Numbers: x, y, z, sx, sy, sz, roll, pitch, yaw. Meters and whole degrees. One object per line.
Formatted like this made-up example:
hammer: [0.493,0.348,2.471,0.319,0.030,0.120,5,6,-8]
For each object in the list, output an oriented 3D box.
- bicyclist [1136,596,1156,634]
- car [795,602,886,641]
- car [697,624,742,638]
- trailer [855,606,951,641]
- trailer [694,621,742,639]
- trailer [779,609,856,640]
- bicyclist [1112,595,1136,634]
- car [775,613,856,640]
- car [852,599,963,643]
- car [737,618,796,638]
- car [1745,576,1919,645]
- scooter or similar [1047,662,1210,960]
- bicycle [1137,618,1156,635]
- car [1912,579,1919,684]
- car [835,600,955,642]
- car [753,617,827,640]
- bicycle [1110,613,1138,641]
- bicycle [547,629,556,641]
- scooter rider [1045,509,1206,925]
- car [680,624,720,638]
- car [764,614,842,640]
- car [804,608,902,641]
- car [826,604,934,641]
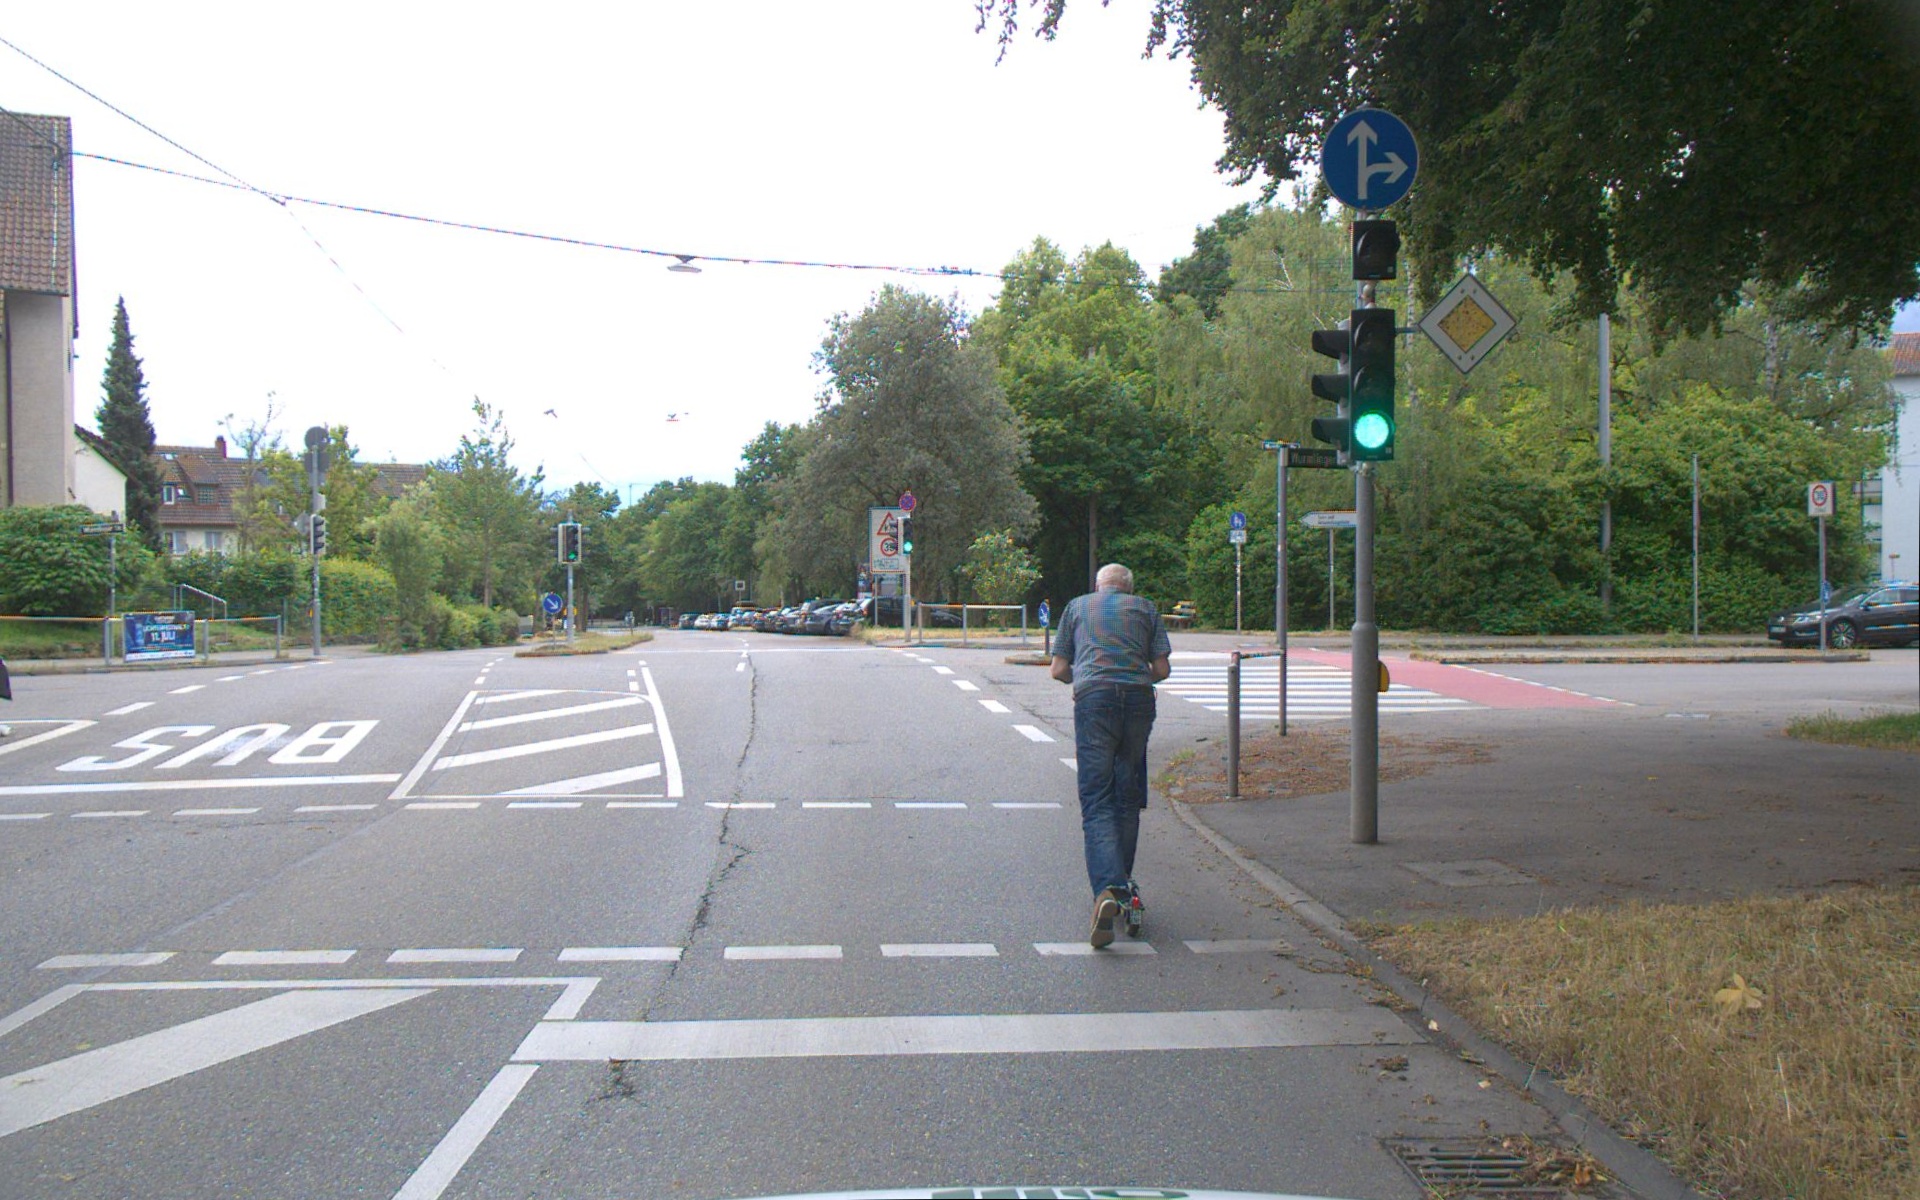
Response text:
bicyclist: [5.980,0.483,53.148,0.507,1.208,0.968,-2,-2,11]
car: [-5.580,1.005,77.081,3.928,1.755,1.670,0,-2,-21]
car: [-22.756,2.944,156.487,3.854,1.332,1.721,0,-2,-36]
trailer: [-2.172,0.906,63.078,3.353,1.289,1.606,0,-2,-21]
trailer: [-22.482,2.774,153.809,4.112,1.601,1.694,1,-2,-31]
trailer: [-7.293,1.269,84.456,3.638,1.562,1.634,0,-1,-23]
bicyclist: [5.119,0.457,51.544,0.626,1.182,0.804,0,2,15]
car: [-7.561,1.409,86.706,3.978,1.351,1.550,0,-2,-21]
car: [-1.846,0.725,57.595,3.652,1.502,1.570,0,-1,-14]
car: [-14.023,2.051,119.798,3.916,1.430,1.742,1,-2,-27]
car: [20.307,0.211,36.932,4.693,1.464,2.036,-1,0,-7]
scooter or similar: [0.742,0.909,7.635,0.667,1.159,1.460,0,1,3]
bicycle: [5.986,0.851,53.125,0.507,0.506,0.989,-2,-2,11]
car: [15.323,0.477,23.295,2.850,1.532,1.697,0,1,4]
car: [-2.351,0.758,60.091,4.078,1.502,1.566,0,-1,-22]
car: [-10.479,1.735,102.054,4.258,1.365,1.719,0,-2,-26]
bicycle: [5.120,0.848,51.567,0.626,0.771,1.682,0,2,15]
bicycle: [-44.176,3.763,178.936,0.830,1.288,2.644,0,0,-12]
scooter rider: [0.732,0.486,7.602,0.667,1.760,1.197,0,1,3]
car: [-27.388,3.272,174.214,3.846,1.454,1.725,0,-2,-32]
car: [-9.215,1.570,96.861,4.290,1.471,1.620,0,-1,-26]
car: [-4.809,1.106,74.150,4.102,1.431,1.686,0,-2,-23]
car: [-3.283,0.912,67.833,4.157,1.490,1.625,0,-1,-20]
